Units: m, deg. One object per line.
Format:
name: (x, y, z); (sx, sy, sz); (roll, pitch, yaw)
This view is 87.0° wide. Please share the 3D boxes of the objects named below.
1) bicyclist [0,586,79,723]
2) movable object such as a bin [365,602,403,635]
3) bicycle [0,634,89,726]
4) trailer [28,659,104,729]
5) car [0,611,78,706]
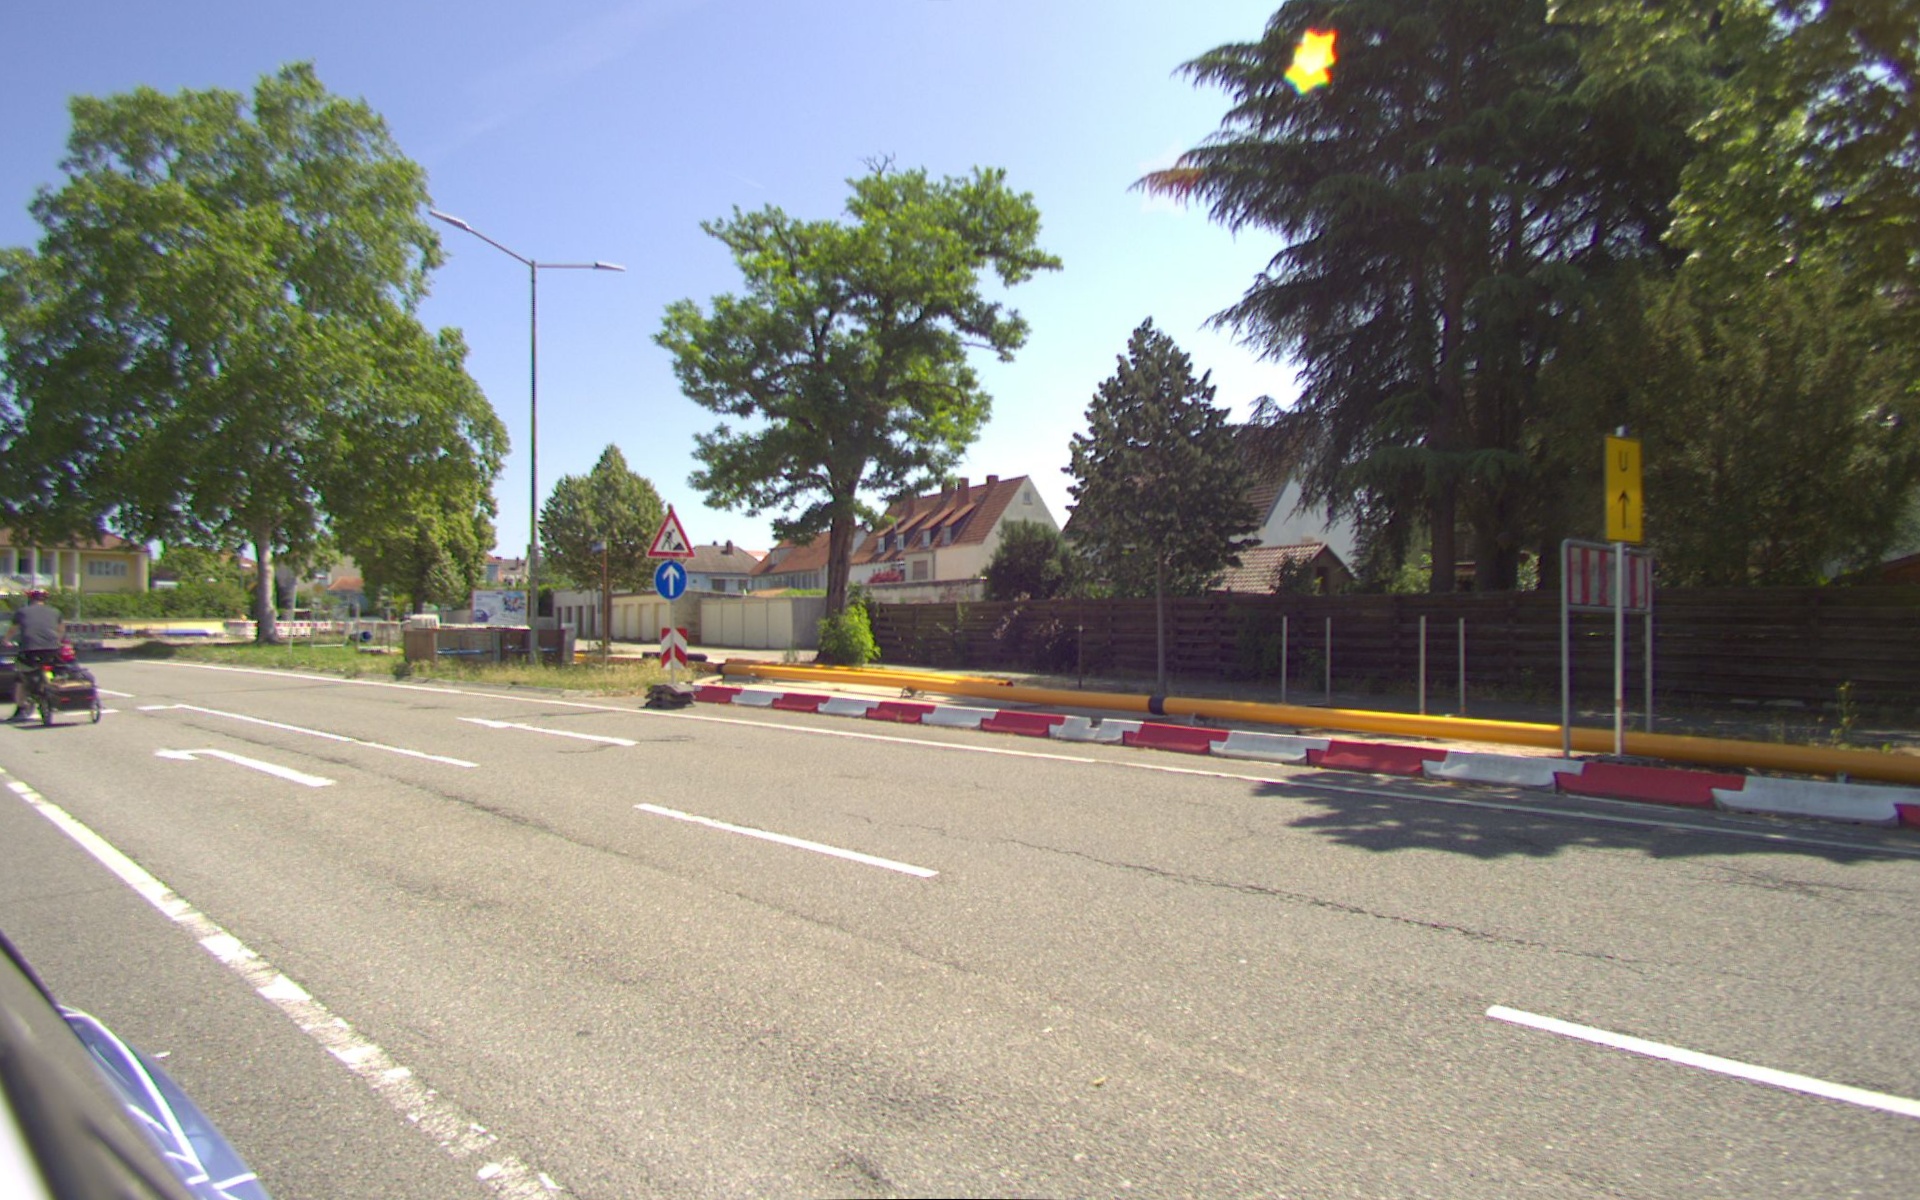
bicyclist: (-13.272, 0.747, 14.478); (0.975, 1.879, 0.838); (-1, -1, 38)
movable object such as a bin: (-48.846, 1.577, 85.744); (2.241, 2.756, 3.939); (1, -2, -37)
bicycle: (-13.230, 1.102, 14.447); (1.974, 1.175, 0.842); (-1, 0, 38)
trailer: (-11.957, 1.235, 13.533); (1.131, 0.862, 0.565); (-1, -1, 38)
car: (-17.455, 1.010, 18.065); (3.821, 1.544, 1.710); (-1, 0, 35)
